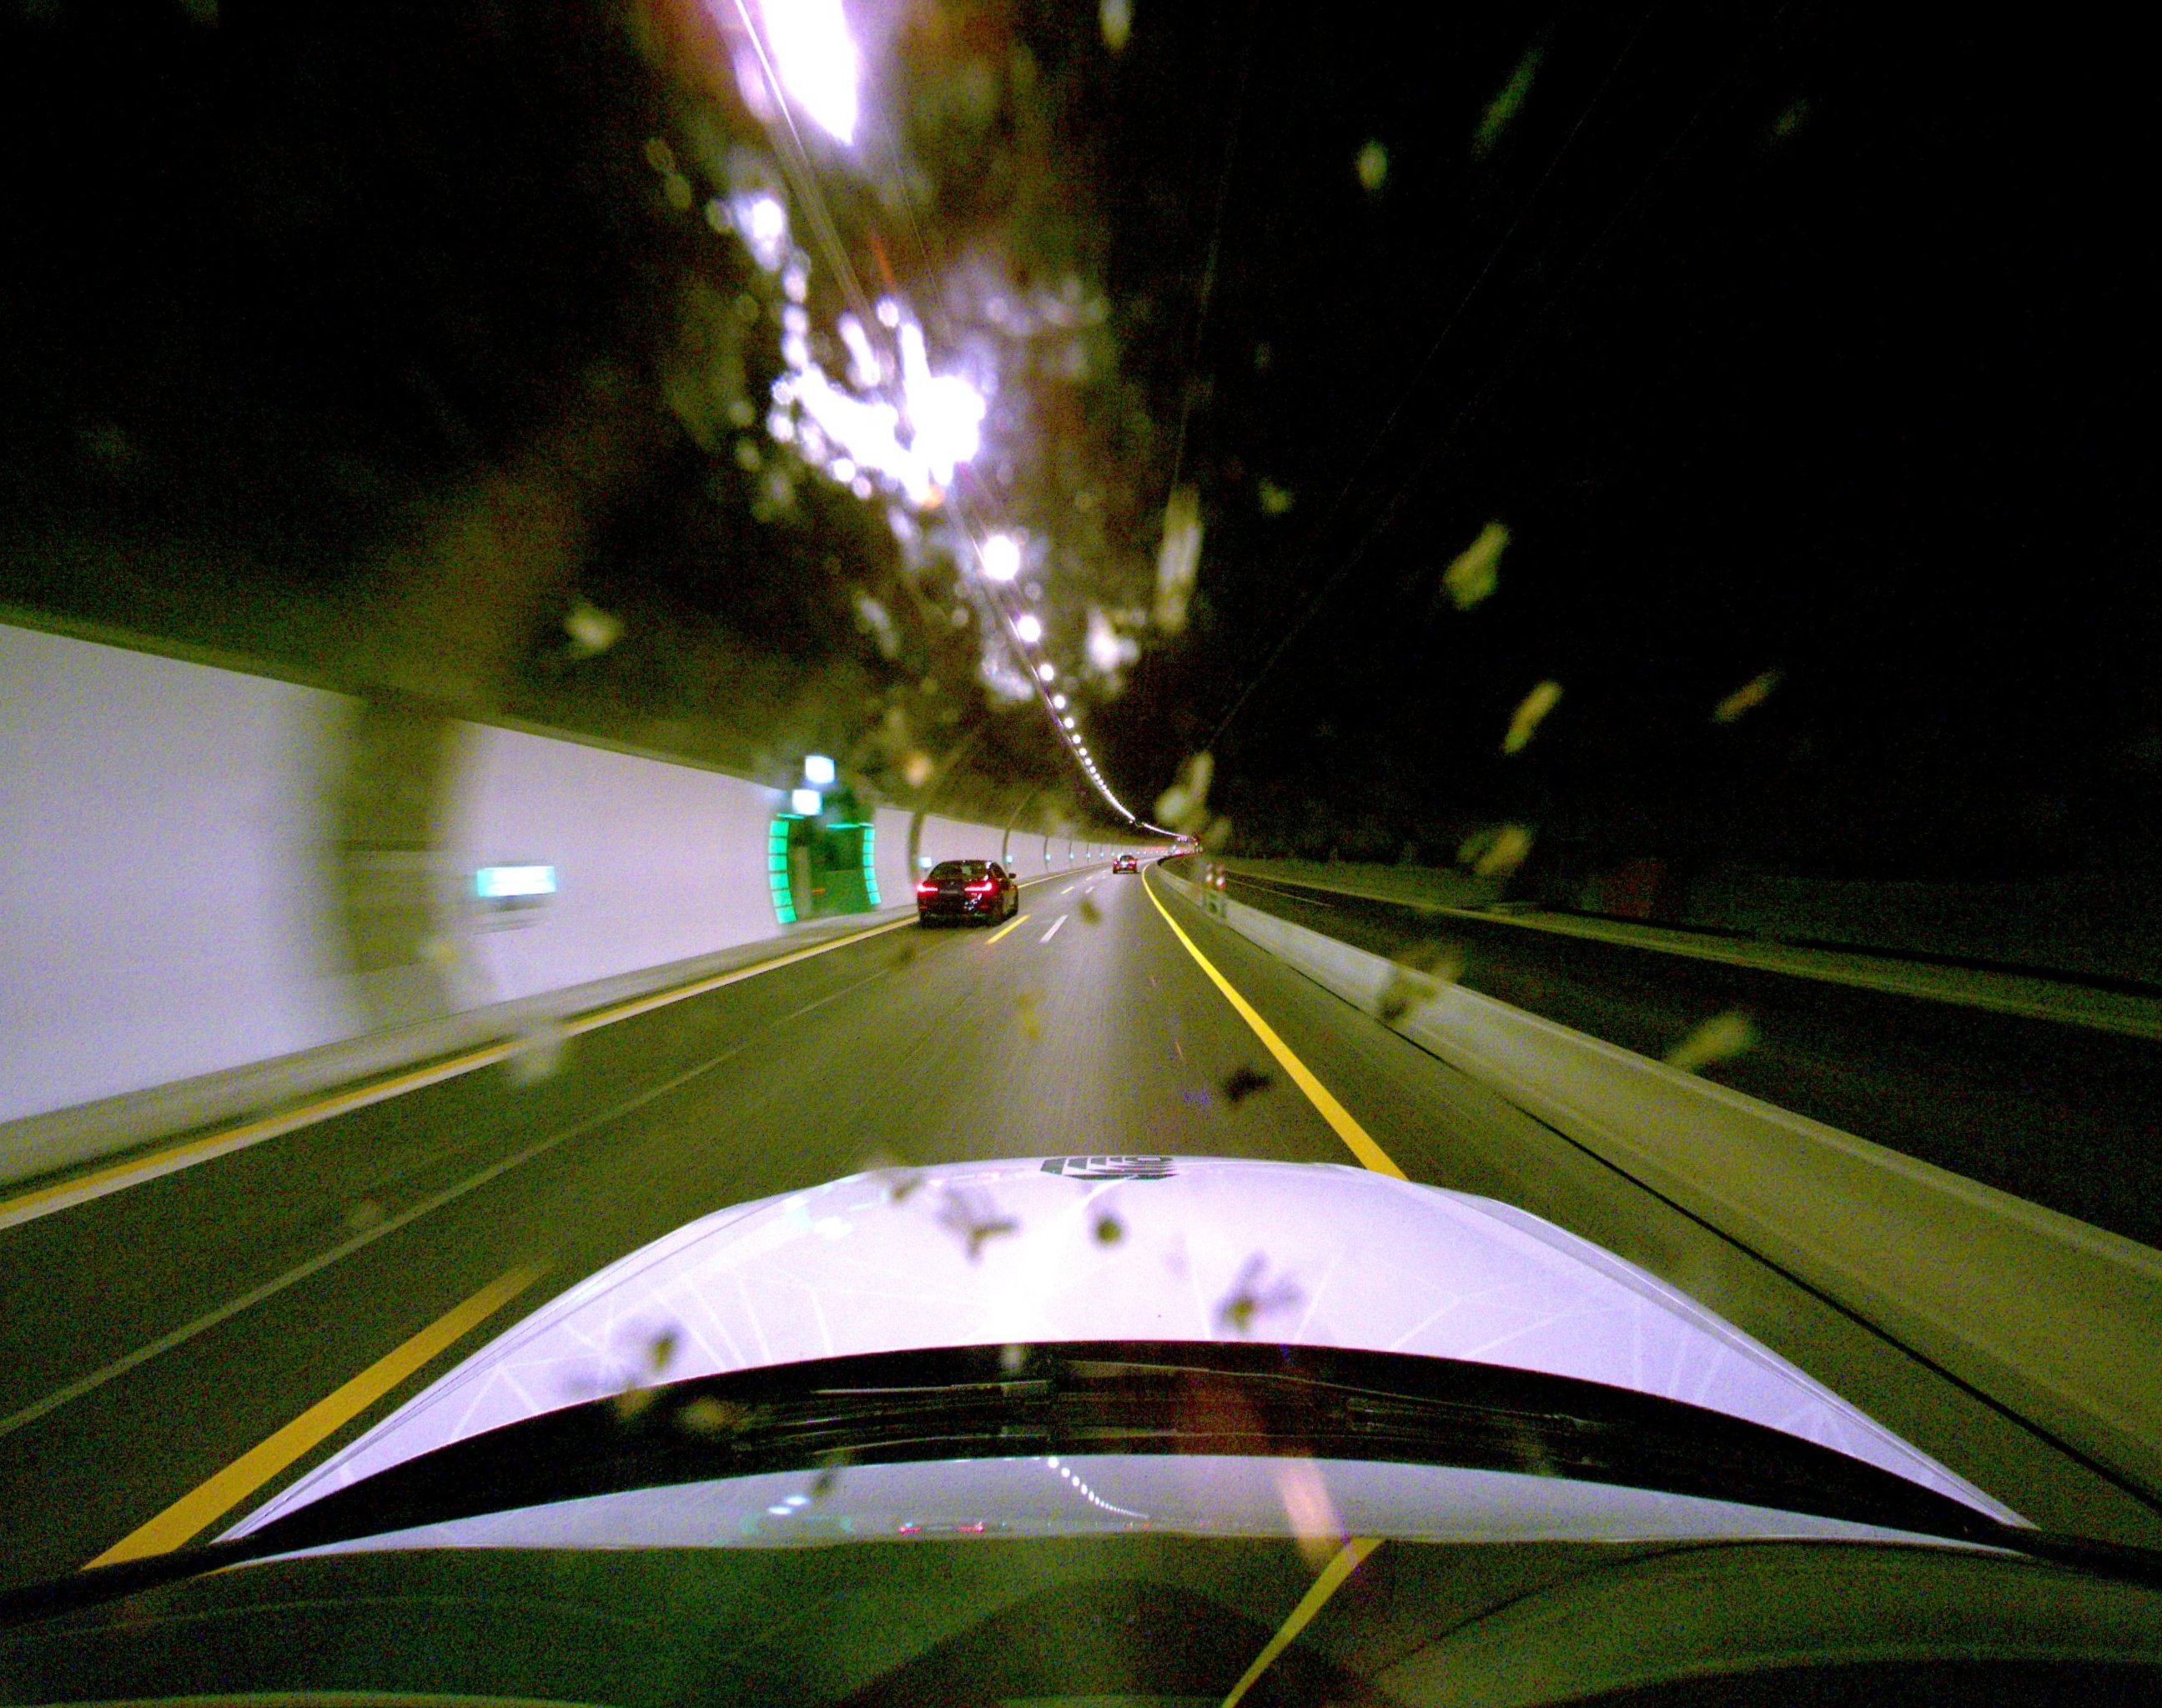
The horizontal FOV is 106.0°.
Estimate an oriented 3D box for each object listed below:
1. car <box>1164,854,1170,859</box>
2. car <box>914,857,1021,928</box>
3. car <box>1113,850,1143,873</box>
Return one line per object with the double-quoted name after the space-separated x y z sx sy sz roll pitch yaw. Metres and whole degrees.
23.582 0.684 224.139 1.587 1.333 3.756 -1 0 5 "car"
-2.569 0.823 19.568 1.772 1.438 4.883 -1 0 1 "car"
3.713 0.553 63.955 2.130 1.706 4.007 -1 0 6 "car"
